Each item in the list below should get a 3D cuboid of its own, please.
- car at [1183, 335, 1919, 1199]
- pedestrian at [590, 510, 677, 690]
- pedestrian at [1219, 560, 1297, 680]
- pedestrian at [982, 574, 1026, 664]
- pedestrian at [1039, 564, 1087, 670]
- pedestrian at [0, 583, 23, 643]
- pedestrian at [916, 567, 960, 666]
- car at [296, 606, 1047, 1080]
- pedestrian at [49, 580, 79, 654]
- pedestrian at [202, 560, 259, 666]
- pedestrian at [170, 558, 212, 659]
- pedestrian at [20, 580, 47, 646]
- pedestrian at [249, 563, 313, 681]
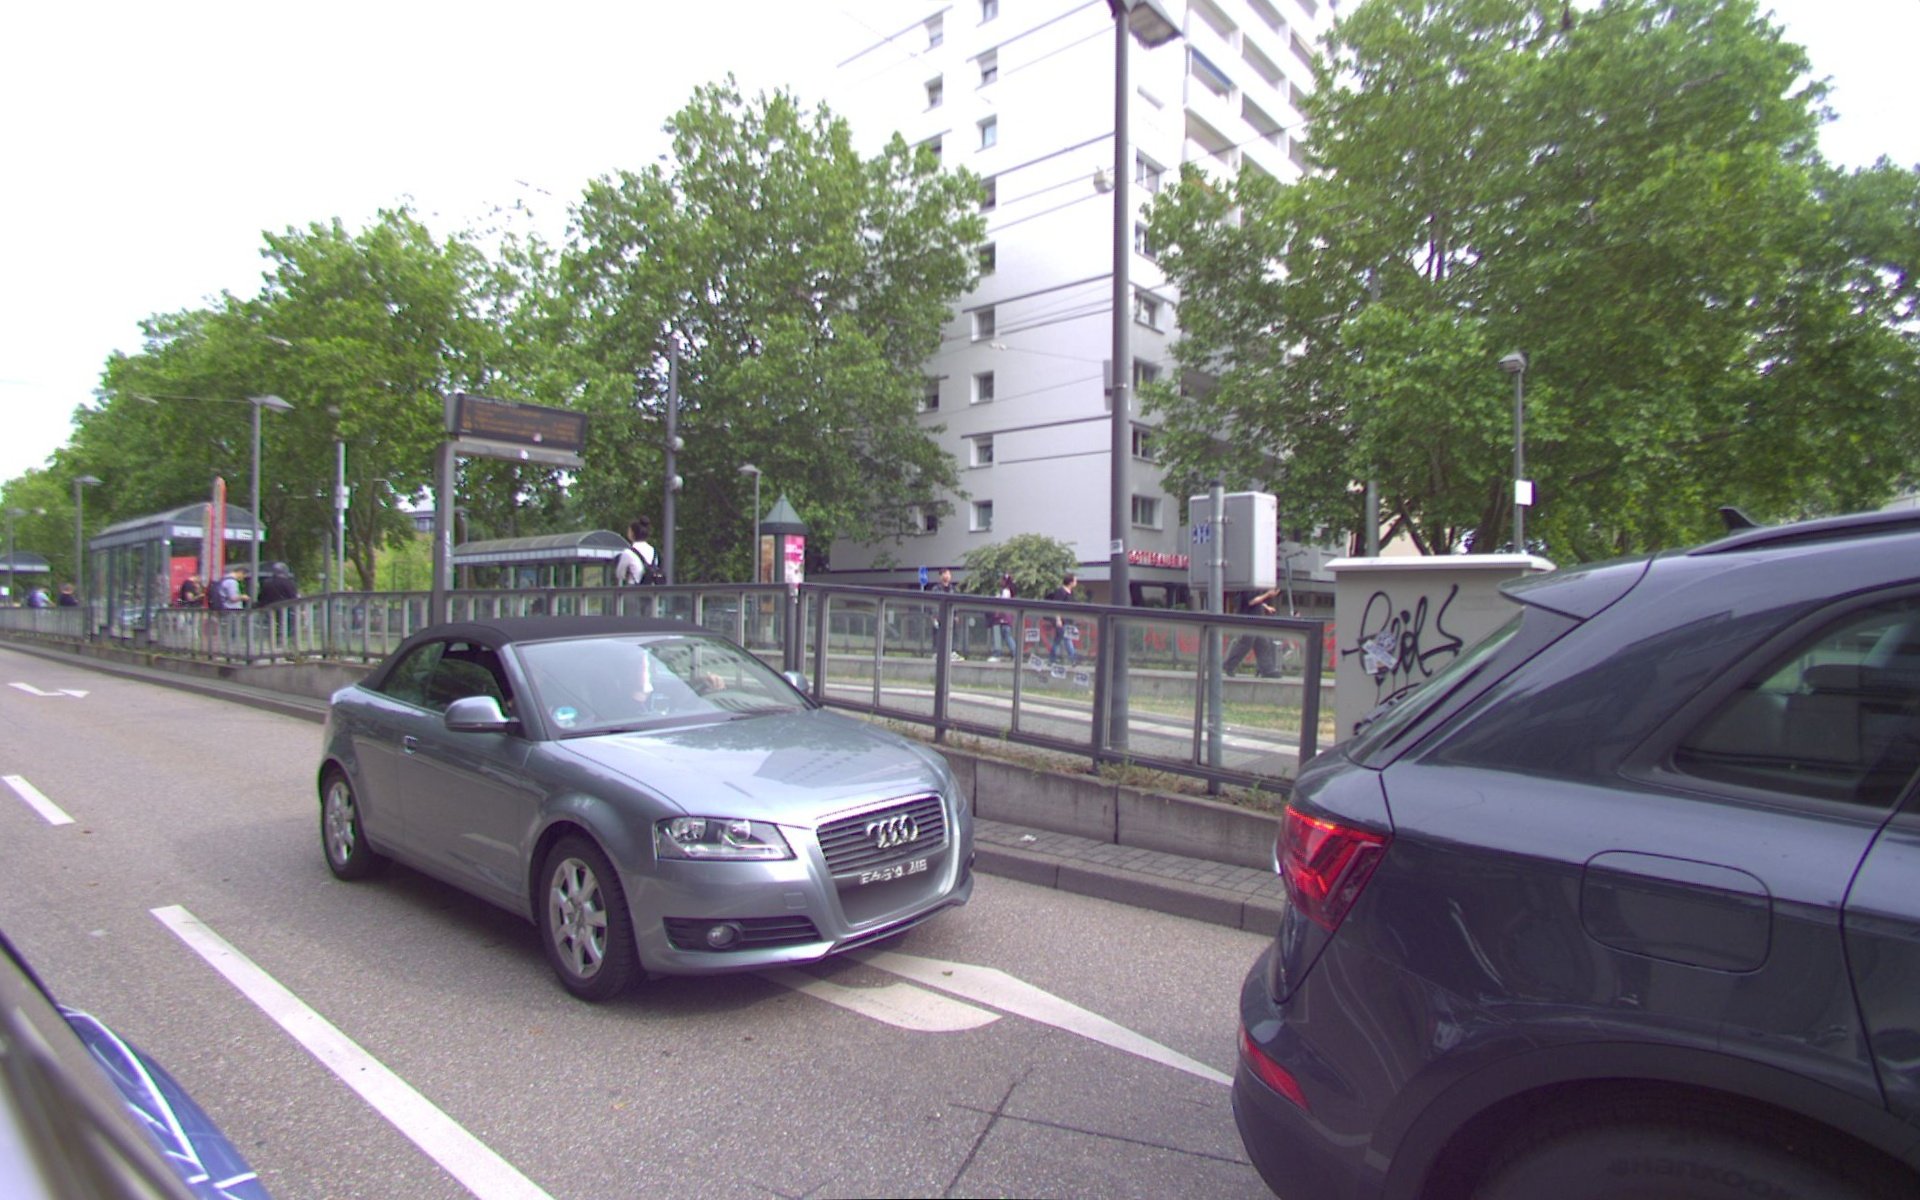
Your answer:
[{"bbox_3d":[2.657,0.507,1.077,4.366,1.659,1.892,0,0,41],"label":"car"},{"bbox_3d":[-3.347,0.000,10.379,0.534,1.764,0.654,-1,0,41],"label":"pedestrian"},{"bbox_3d":[4.412,0.290,14.975,0.878,1.708,0.733,-1,0,42],"label":"pedestrian"},{"bbox_3d":[0.842,0.356,19.357,0.565,1.681,0.614,-1,0,42],"label":"pedestrian"},{"bbox_3d":[1.759,0.283,17.315,0.548,1.764,0.614,-1,0,41],"label":"pedestrian"},{"bbox_3d":[-33.165,0.432,35.368,0.821,2.066,0.577,-1,0,44],"label":"pedestrian"},{"bbox_3d":[-0.402,0.301,18.773,0.534,1.803,0.614,-1,0,41],"label":"pedestrian"},{"bbox_3d":[-1.674,0.737,4.945,4.012,1.385,1.616,0,0,41],"label":"car"},{"bbox_3d":[-25.628,0.479,28.936,0.821,2.066,0.577,-1,0,44],"label":"pedestrian"},{"bbox_3d":[-12.810,0.214,17.780,0.821,1.805,0.674,-1,0,44],"label":"pedestrian"},{"bbox_3d":[-16.157,0.180,21.250,0.821,2.066,0.577,-1,0,44],"label":"pedestrian"},{"bbox_3d":[-29.480,0.403,32.184,0.821,2.066,0.577,-1,0,44],"label":"pedestrian"},{"bbox_3d":[-10.610,0.339,15.821,0.652,1.805,0.535,-1,0,-9],"label":"pedestrian"}]
